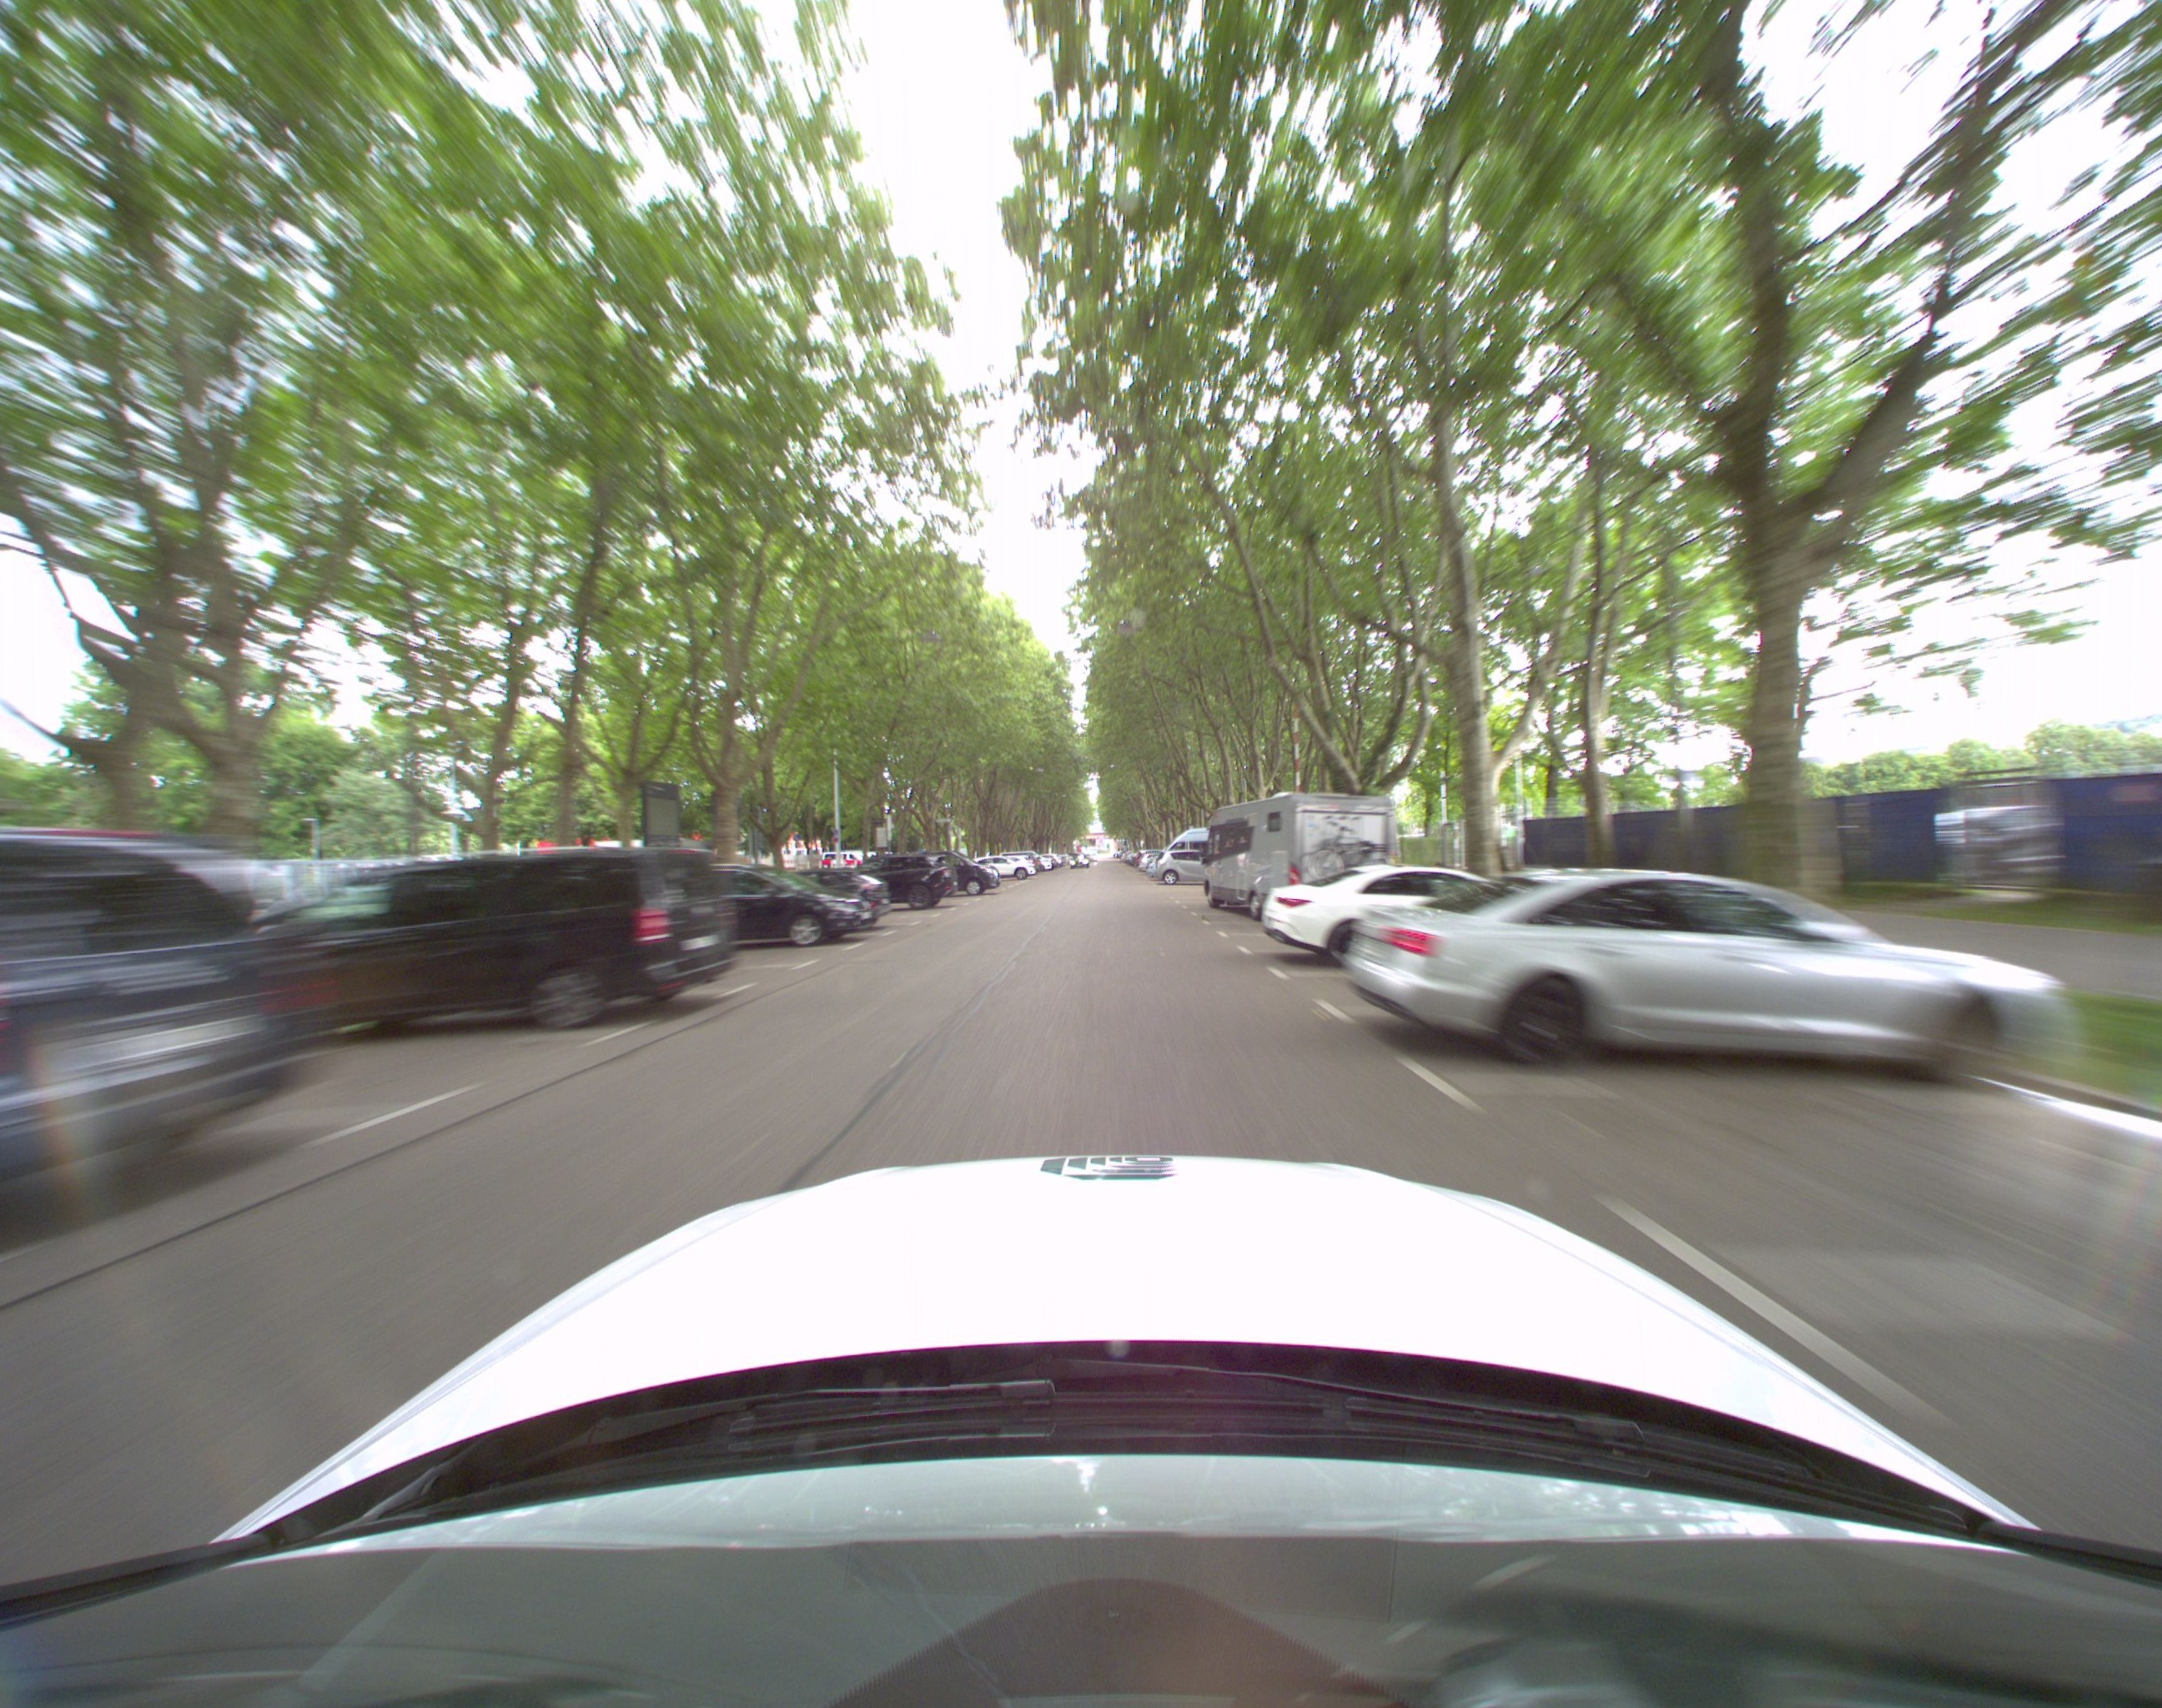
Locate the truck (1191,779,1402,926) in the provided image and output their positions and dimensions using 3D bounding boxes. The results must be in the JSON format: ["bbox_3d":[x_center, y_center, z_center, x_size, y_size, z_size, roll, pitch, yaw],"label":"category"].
[{"bbox_3d":[4.880,-0.033,20.206,2.456,2.937,7.520,-1,0,-7],"label":"truck"}]

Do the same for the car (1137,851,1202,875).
[{"bbox_3d":[5.709,0.582,52.973,4.102,1.429,1.704,1,0,3],"label":"car"}]

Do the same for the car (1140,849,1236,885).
[{"bbox_3d":[4.917,0.569,37.845,4.320,1.618,1.806,0,0,4],"label":"car"}]

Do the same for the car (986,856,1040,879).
[{"bbox_3d":[-5.254,1.009,63.176,3.975,1.475,1.842,-4,0,-1],"label":"car"}]

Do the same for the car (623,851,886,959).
[{"bbox_3d":[-6.606,1.009,16.802,4.560,1.781,1.799,-4,1,3],"label":"car"}]

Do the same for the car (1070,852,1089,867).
[{"bbox_3d":[-0.170,0.590,82.636,1.650,1.364,4.109,-4,0,-2],"label":"car"}]

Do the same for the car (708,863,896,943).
[{"bbox_3d":[-6.441,1.096,19.219,3.900,1.494,1.747,-4,0,-12],"label":"car"}]

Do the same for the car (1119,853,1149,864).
[{"bbox_3d":[7.679,0.658,117.321,4.156,1.596,1.853,-1,0,-2],"label":"car"}]

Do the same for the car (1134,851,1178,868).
[{"bbox_3d":[6.895,0.484,75.190,3.974,1.486,1.694,-1,0,-1],"label":"car"}]

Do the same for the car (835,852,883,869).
[{"bbox_3d":[-30.494,0.890,112.181,5.980,2.318,2.000,-1,0,1],"label":"car"}]

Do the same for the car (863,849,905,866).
[{"bbox_3d":[-30.634,0.561,126.784,5.980,2.527,2.000,-1,0,1],"label":"car"}]

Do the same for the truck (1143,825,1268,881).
[{"bbox_3d":[6.376,-0.036,42.403,6.265,2.715,2.100,-1,0,4],"label":"truck"}]

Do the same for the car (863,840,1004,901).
[{"bbox_3d":[-6.095,0.669,34.112,5.418,2.127,1.940,-4,1,0],"label":"car"}]

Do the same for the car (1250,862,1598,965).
[{"bbox_3d":[4.753,0.812,11.747,4.303,1.302,1.701,-1,0,2],"label":"car"}]

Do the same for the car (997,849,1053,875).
[{"bbox_3d":[-5.157,0.743,75.325,4.877,2.019,1.920,-4,0,0],"label":"car"}]

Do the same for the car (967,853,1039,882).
[{"bbox_3d":[-4.992,0.858,52.544,4.366,1.597,1.999,-4,0,-1],"label":"car"}]

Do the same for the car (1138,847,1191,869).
[{"bbox_3d":[7.188,0.343,70.242,4.370,1.755,1.800,-1,0,-1],"label":"car"}]

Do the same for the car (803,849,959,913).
[{"bbox_3d":[-6.447,0.860,26.633,4.646,1.820,1.802,-2,-1,-5],"label":"car"}]

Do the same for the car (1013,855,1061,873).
[{"bbox_3d":[-4.308,0.954,80.529,4.426,1.452,1.777,-4,0,5],"label":"car"}]

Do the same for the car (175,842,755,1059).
[{"bbox_3d":[-6.692,0.978,9.328,4.886,1.924,2.209,-3,0,2],"label":"car"}]

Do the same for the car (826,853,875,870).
[{"bbox_3d":[-30.964,0.986,109.387,5.980,2.252,2.000,-1,0,1],"label":"car"}]

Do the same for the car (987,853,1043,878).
[{"bbox_3d":[-5.312,0.890,65.987,4.327,1.667,1.999,-4,0,-1],"label":"car"}]

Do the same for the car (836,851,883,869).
[{"bbox_3d":[-31.206,0.821,114.812,5.980,2.527,2.000,-1,0,1],"label":"car"}]

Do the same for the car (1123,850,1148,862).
[{"bbox_3d":[8.232,0.328,123.012,3.636,1.667,1.518,-1,0,-2],"label":"car"}]

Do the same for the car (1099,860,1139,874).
[{"bbox_3d":[4.027,1.393,86.439,4.198,1.451,1.610,-1,0,-1],"label":"car"}]

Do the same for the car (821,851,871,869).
[{"bbox_3d":[-30.833,0.803,106.874,5.980,2.252,2.000,-1,0,1],"label":"car"}]

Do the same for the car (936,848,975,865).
[{"bbox_3d":[-19.500,0.402,126.670,5.764,2.597,2.001,-1,0,2],"label":"car"}]

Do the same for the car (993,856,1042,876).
[{"bbox_3d":[-5.421,1.017,70.198,3.975,1.413,1.682,-4,0,-1],"label":"car"}]

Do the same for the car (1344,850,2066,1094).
[{"bbox_3d":[4.518,0.790,6.464,4.338,1.445,1.614,3,0,5],"label":"car"}]

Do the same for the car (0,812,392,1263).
[{"bbox_3d":[-7.017,0.915,4.329,4.752,1.924,2.015,-3,0,-3],"label":"car"}]

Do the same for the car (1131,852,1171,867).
[{"bbox_3d":[6.884,0.529,80.610,3.815,1.389,1.694,-1,0,0],"label":"car"}]

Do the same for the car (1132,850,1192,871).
[{"bbox_3d":[6.249,0.513,63.195,4.488,1.526,1.702,-1,0,-1],"label":"car"}]

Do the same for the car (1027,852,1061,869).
[{"bbox_3d":[-4.184,0.728,92.728,3.816,1.627,1.952,-3,0,-2],"label":"car"}]

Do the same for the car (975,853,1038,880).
[{"bbox_3d":[-5.488,0.907,60.445,4.327,1.667,1.999,-4,0,-1],"label":"car"}]

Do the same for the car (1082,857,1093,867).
[{"bbox_3d":[1.015,1.211,129.000,1.683,1.471,3.839,-3,0,0],"label":"car"}]

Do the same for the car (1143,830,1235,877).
[{"bbox_3d":[6.263,-0.048,47.791,5.208,2.689,1.958,0,0,2],"label":"car"}]
